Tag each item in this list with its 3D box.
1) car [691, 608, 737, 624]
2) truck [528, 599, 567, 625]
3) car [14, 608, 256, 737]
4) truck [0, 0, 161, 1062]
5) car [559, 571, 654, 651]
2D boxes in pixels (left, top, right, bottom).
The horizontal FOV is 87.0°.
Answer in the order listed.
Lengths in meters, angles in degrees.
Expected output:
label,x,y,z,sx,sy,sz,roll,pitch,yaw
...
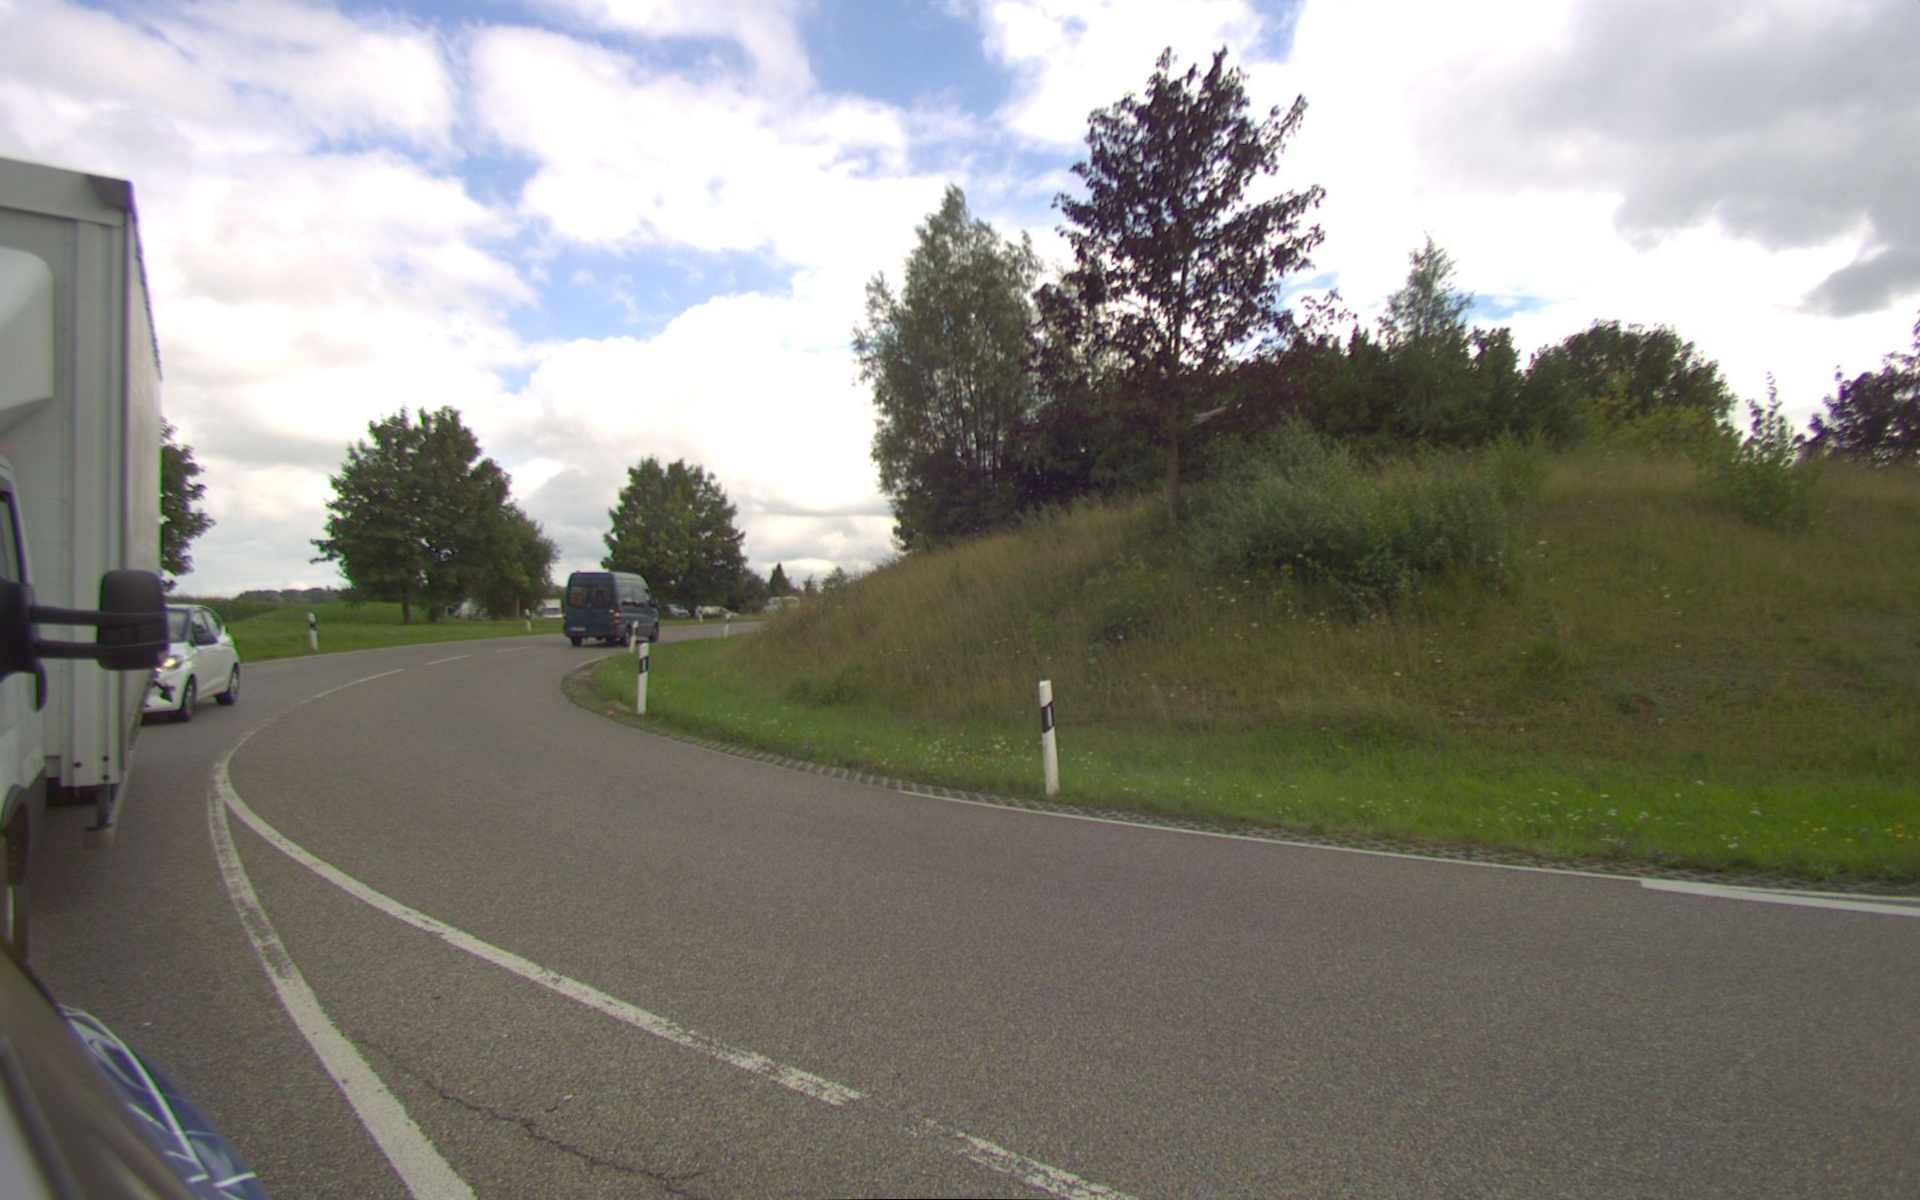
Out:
label,x,y,z,sx,sy,sz,roll,pitch,yaw
car,-25.623,1.669,105.372,4.328,1.597,2.007,-1,-1,-23
truck,-40.823,1.212,99.984,2.254,2.439,6.398,-1,-1,-34
car,-11.201,0.897,14.060,1.721,1.477,4.013,-1,-1,-26
truck,-6.304,-0.497,5.679,2.793,3.792,8.817,1,-2,-38
car,-12.730,0.426,36.786,1.970,2.650,5.127,1,-1,-4
